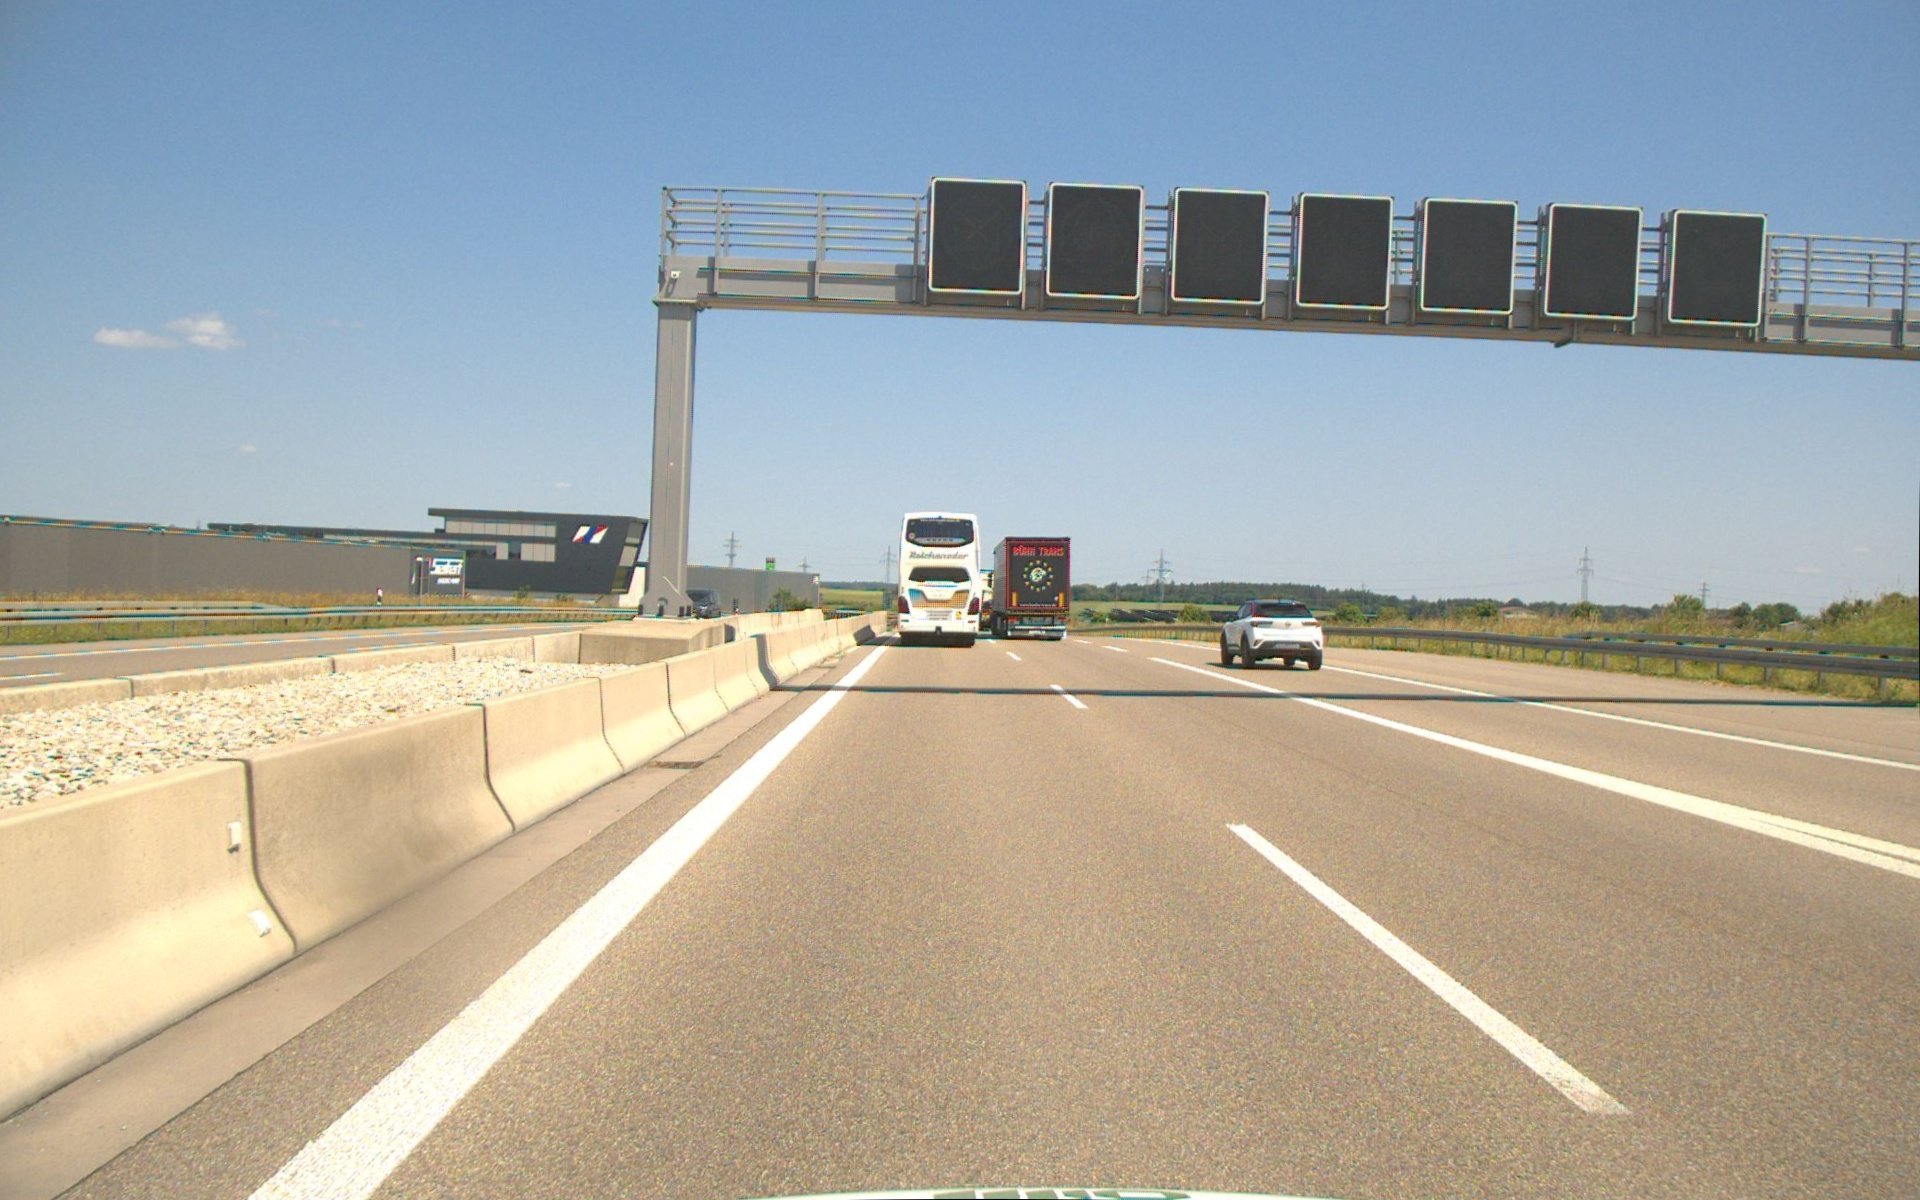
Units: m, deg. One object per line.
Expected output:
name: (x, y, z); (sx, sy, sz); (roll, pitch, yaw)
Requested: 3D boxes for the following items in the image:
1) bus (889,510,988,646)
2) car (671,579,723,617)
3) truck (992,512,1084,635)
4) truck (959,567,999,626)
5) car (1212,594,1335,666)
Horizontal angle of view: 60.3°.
bus: (-0.820, -0.740, 54.367); (2.920, 4.044, 9.101); (1, 1, -2)
car: (-14.859, -0.129, 93.669); (2.104, 2.049, 5.381); (1, 0, 0)
truck: (3.148, -0.888, 70.677); (3.310, 4.542, 13.566); (2, -2, 1)
truck: (1.220, -0.244, 111.561); (2.388, 3.855, 6.491); (1, 0, -2)
car: (7.211, 0.650, 38.426); (1.853, 1.556, 4.259); (1, 0, -3)
